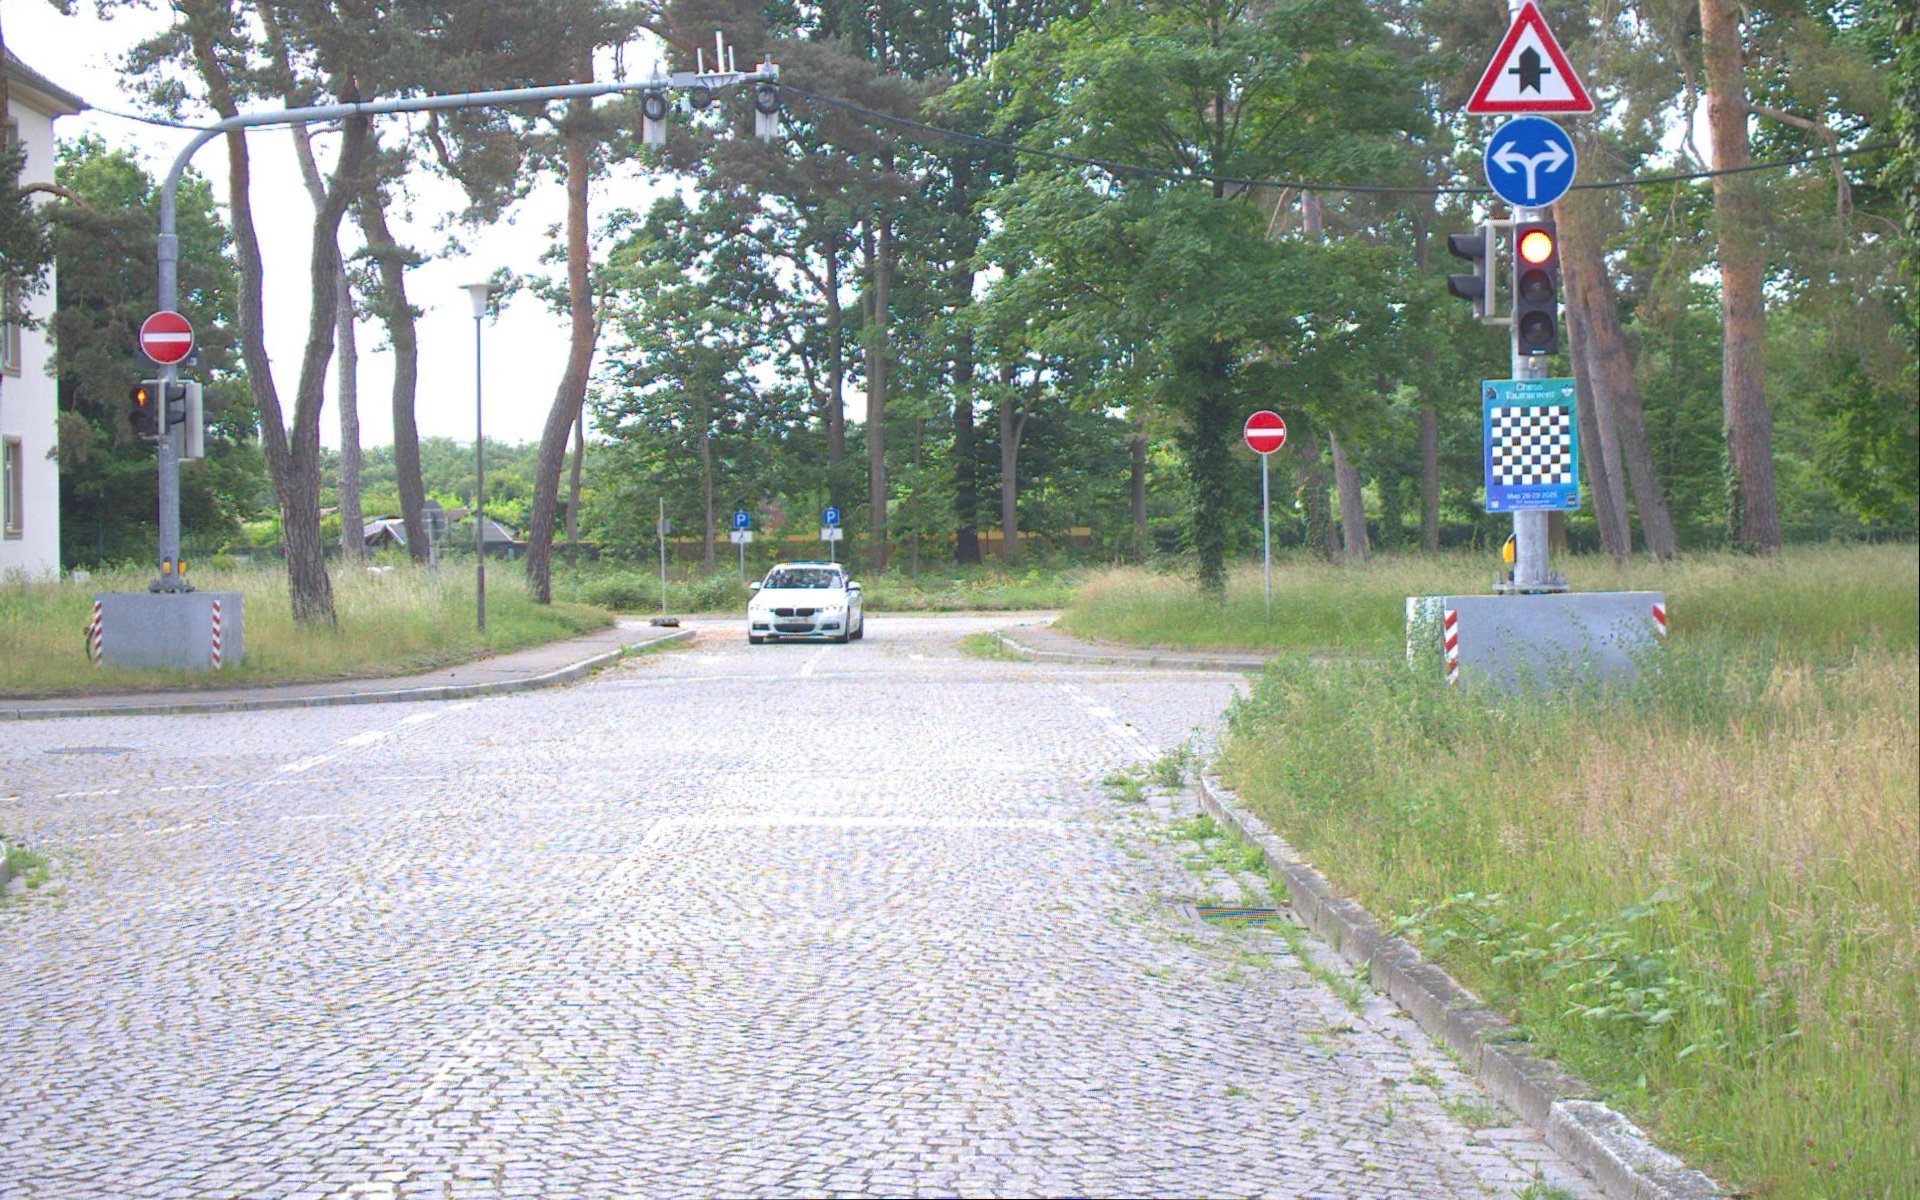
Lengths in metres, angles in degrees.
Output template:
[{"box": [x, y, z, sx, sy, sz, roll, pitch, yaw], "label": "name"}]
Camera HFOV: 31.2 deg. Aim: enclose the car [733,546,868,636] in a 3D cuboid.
[{"box": [-2.855, -0.188, 62.458, 1.774, 1.433, 4.217, -3, 1, 6], "label": "car"}]
